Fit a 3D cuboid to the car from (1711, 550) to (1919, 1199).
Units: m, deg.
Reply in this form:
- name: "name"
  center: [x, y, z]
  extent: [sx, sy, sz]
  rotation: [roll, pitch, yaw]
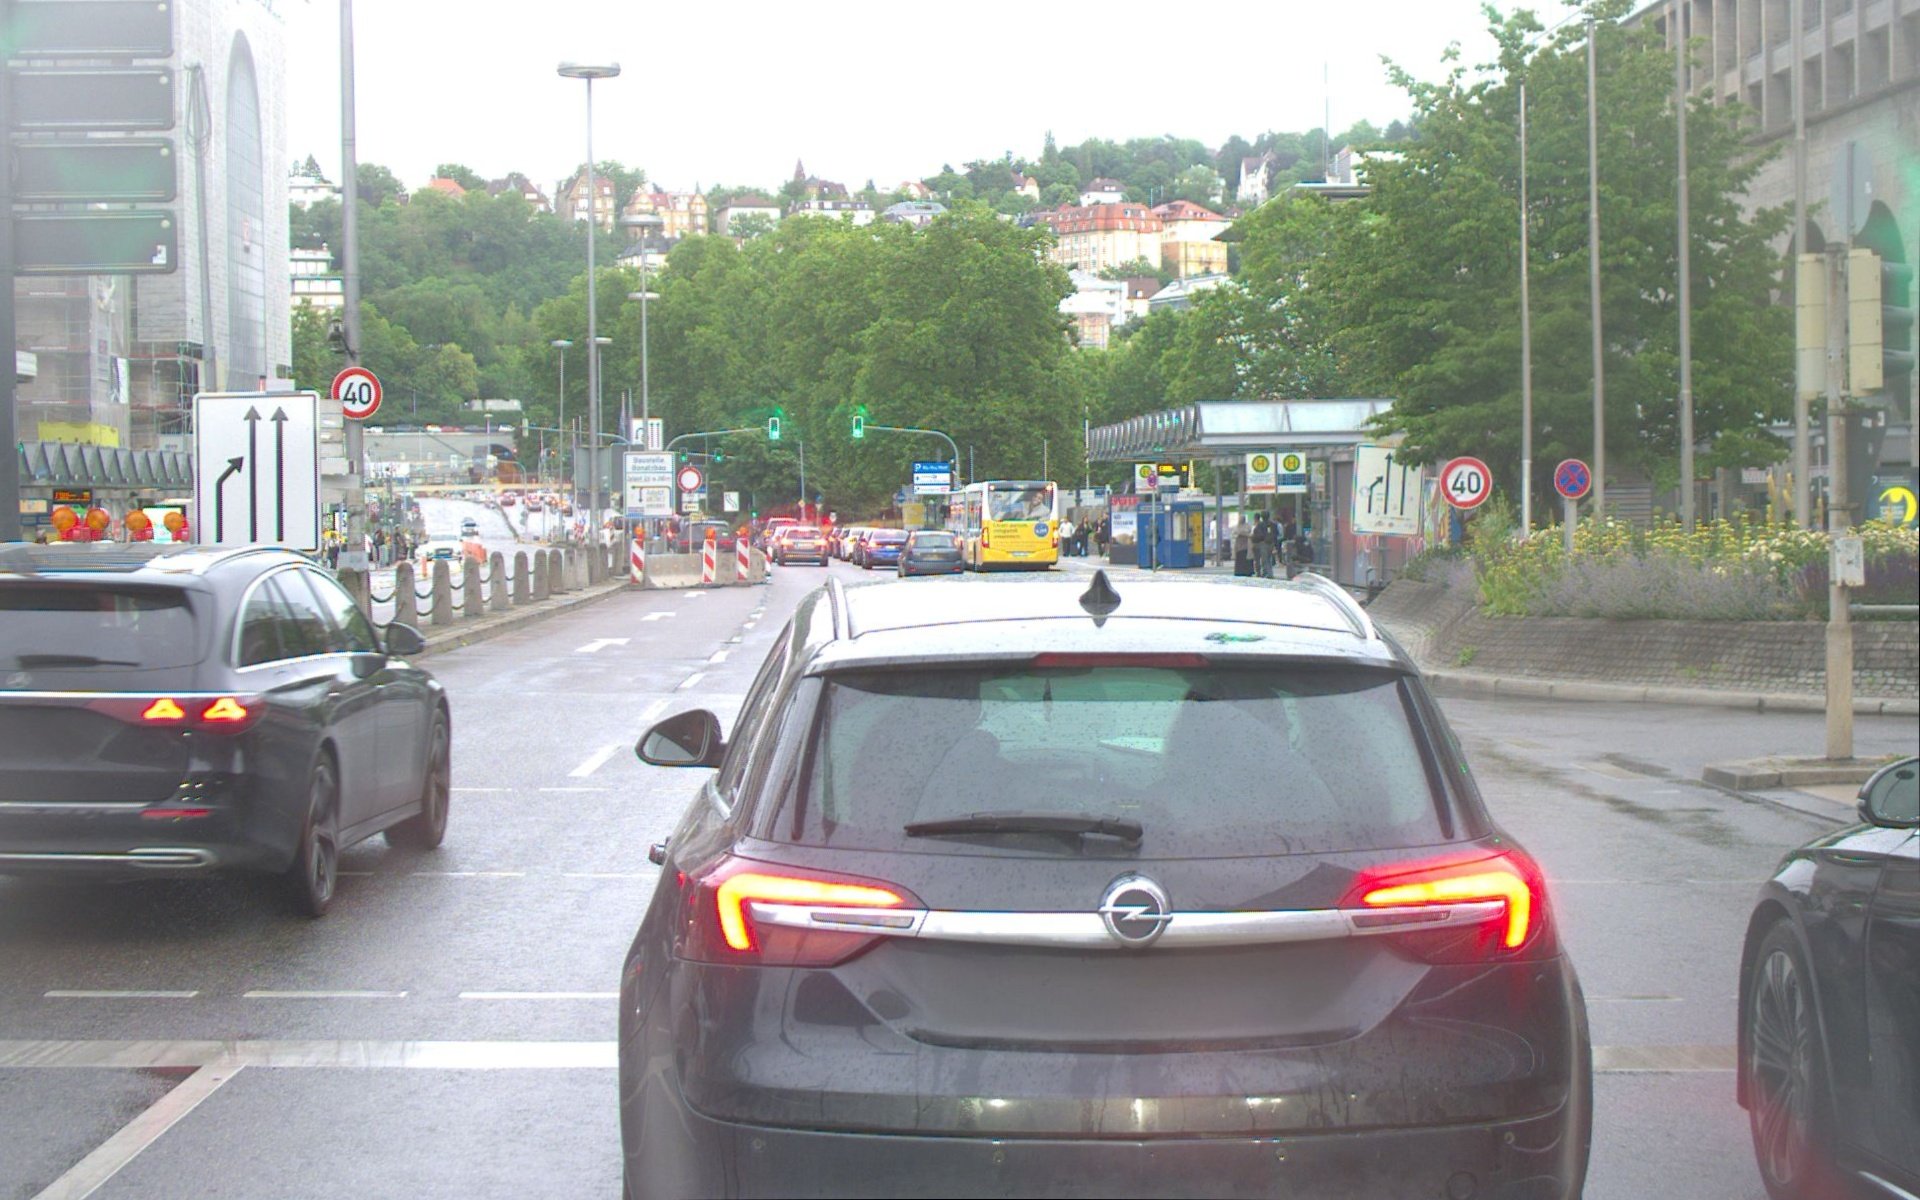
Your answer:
- name: "car"
  center: [2.718, 0.673, 5.896]
  extent: [1.793, 1.496, 4.629]
  rotation: [1, 0, 0]

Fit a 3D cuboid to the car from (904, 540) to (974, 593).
- name: "car"
  center: [-0.579, -0.904, 94.173]
  extent: [1.845, 1.393, 3.667]
  rotation: [1, 0, -1]

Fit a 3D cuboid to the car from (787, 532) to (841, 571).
- name: "car"
  center: [-5.403, -1.800, 127.594]
  extent: [1.845, 1.393, 3.564]
  rotation: [1, 0, -1]

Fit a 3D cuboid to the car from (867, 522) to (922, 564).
- name: "car"
  center: [-2.327, -2.003, 121.673]
  extent: [1.753, 1.393, 4.649]
  rotation: [1, 0, -3]

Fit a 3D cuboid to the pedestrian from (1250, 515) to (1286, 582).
- name: "pedestrian"
  center: [7.812, -1.294, 87.155]
  extent: [0.763, 1.684, 0.825]
  rotation: [1, 0, -5]

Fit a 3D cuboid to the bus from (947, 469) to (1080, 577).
- name: "bus"
  center: [1.723, -2.592, 120.062]
  extent: [4.173, 3.457, 14.655]
  rotation: [1, 0, -1]

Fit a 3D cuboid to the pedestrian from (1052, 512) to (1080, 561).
- name: "pedestrian"
  center: [4.750, -2.819, 153.581]
  extent: [1.199, 2.141, 1.228]
  rotation: [1, 0, 1]

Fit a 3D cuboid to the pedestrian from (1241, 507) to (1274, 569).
- name: "pedestrian"
  center: [8.087, -1.680, 93.451]
  extent: [0.763, 1.684, 0.825]
  rotation: [1, 0, -5]

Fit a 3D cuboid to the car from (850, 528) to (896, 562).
- name: "car"
  center: [-3.650, -2.296, 144.327]
  extent: [1.845, 1.393, 3.564]
  rotation: [1, 1, -1]

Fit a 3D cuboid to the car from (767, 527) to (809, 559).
- name: "car"
  center: [-7.741, -2.548, 155.113]
  extent: [1.759, 1.393, 3.564]
  rotation: [1, 0, -1]

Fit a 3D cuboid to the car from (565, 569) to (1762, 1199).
- name: "car"
  center: [0.280, 0.688, 7.417]
  extent: [1.874, 1.481, 4.000]
  rotation: [1, 0, -1]

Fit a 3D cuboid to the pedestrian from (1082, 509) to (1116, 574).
- name: "pedestrian"
  center: [5.213, -2.182, 129.023]
  extent: [1.199, 2.427, 1.228]
  rotation: [1, 0, 1]

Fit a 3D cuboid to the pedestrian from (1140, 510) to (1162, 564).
- name: "pedestrian"
  center: [6.036, -1.989, 108.638]
  extent: [0.657, 1.684, 0.609]
  rotation: [1, 0, 0]

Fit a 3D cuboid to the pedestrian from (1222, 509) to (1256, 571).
- name: "pedestrian"
  center: [7.683, -1.640, 94.672]
  extent: [0.763, 1.684, 0.825]
  rotation: [1, 0, -5]

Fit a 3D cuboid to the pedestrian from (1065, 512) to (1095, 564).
- name: "pedestrian"
  center: [4.970, -2.583, 142.693]
  extent: [1.199, 2.141, 1.228]
  rotation: [1, 0, 1]

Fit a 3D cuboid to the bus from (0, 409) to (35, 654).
- name: "bus"
  center: [-15.383, -0.997, 47.183]
  extent: [2.668, 3.589, 10.212]
  rotation: [1, 0, -1]

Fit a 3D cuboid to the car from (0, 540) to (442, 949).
- name: "car"
  center: [-3.478, 0.498, 14.736]
  extent: [1.855, 1.464, 4.587]
  rotation: [1, 0, -1]
